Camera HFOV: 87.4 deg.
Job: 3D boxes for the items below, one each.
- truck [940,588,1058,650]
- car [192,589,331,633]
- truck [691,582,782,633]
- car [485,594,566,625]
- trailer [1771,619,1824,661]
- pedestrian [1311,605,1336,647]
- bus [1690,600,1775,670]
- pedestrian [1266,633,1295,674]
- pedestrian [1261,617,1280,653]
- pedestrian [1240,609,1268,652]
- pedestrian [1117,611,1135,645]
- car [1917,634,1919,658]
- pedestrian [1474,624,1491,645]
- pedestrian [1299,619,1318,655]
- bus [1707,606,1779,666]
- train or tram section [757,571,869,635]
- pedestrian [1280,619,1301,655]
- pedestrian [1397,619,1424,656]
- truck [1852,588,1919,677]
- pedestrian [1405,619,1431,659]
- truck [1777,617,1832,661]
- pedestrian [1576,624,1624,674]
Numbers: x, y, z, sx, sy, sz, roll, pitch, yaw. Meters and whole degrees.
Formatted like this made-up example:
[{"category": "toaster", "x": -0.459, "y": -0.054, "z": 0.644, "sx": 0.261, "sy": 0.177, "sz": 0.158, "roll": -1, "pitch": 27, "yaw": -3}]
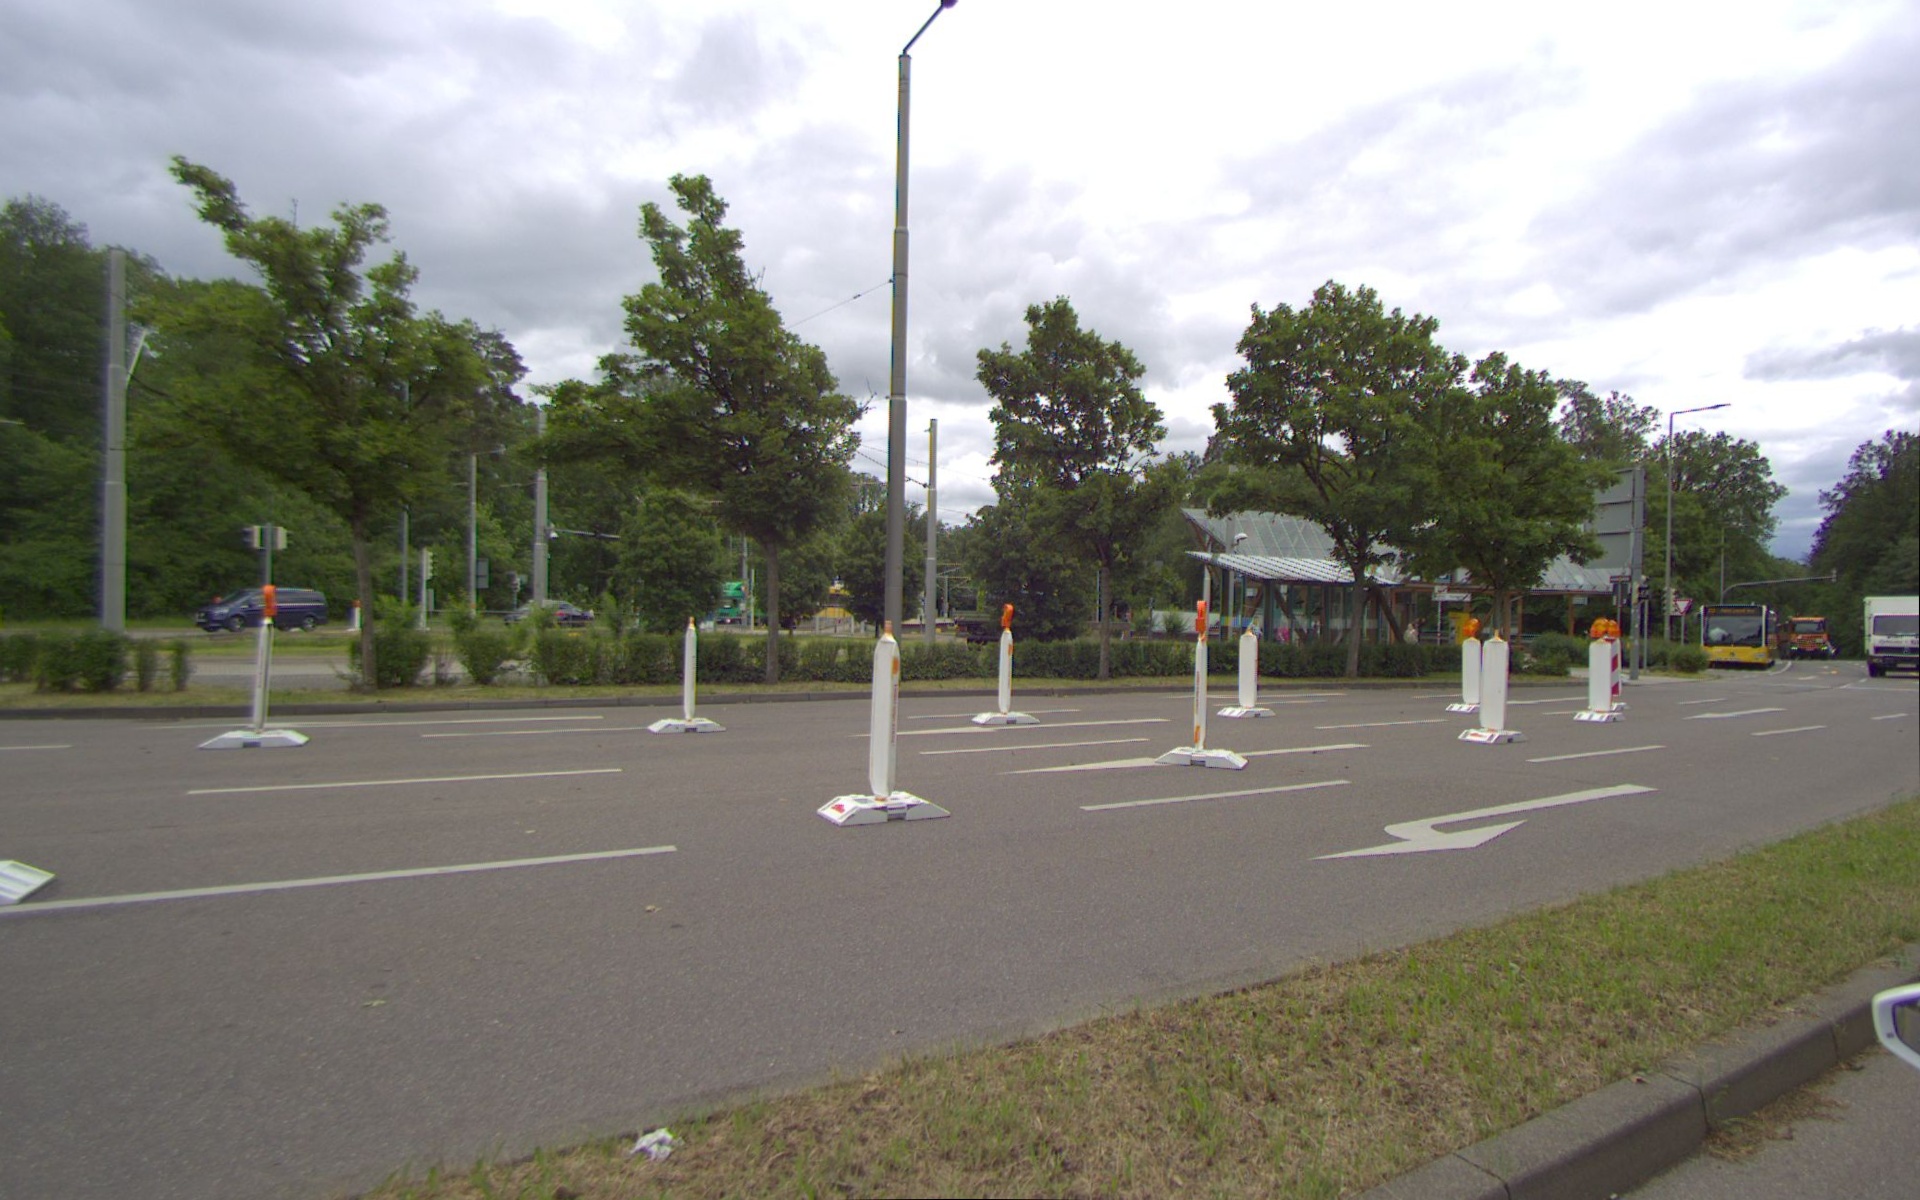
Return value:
[{"category": "truck", "x": 1.687, "y": 0.701, "z": 39.950, "sx": 2.557, "sy": 2.199, "sz": 6.299, "roll": 2, "pitch": 0, "yaw": 23}, {"category": "car", "x": -31.313, "y": 0.477, "z": 45.221, "sx": 1.962, "sy": 1.840, "sz": 4.831, "roll": 2, "pitch": 0, "yaw": 23}, {"category": "truck", "x": -18.612, "y": 0.595, "z": 84.379, "sx": 3.712, "sy": 3.933, "sz": 8.775, "roll": 2, "pitch": 0, "yaw": 15}, {"category": "car", "x": -26.017, "y": 0.571, "z": 60.256, "sx": 1.961, "sy": 1.706, "sz": 4.310, "roll": 2, "pitch": 0, "yaw": 21}, {"category": "trailer", "x": 71.339, "y": 3.476, "z": 85.665, "sx": 2.703, "sy": 3.361, "sz": 8.543, "roll": -2, "pitch": -4, "yaw": 35}, {"category": "pedestrian", "x": 14.137, "y": 1.006, "z": 39.056, "sx": 0.762, "sy": 1.566, "sz": 0.628, "roll": 3, "pitch": 0, "yaw": 27}, {"category": "bus", "x": 38.744, "y": 1.738, "z": 50.226, "sx": 2.865, "sy": 3.168, "sz": 9.713, "roll": 1, "pitch": -1, "yaw": 40}, {"category": "pedestrian", "x": 12.765, "y": 2.115, "z": 39.983, "sx": 0.779, "sy": 1.572, "sz": 0.773, "roll": 2, "pitch": 1, "yaw": -14}, {"category": "pedestrian", "x": 14.616, "y": 1.662, "z": 47.285, "sx": 0.573, "sy": 1.646, "sz": 0.673, "roll": 2, "pitch": 1, "yaw": -8}, {"category": "pedestrian", "x": 11.791, "y": 1.214, "z": 40.317, "sx": 0.674, "sy": 1.688, "sz": 0.867, "roll": 2, "pitch": 1, "yaw": -16}, {"category": "pedestrian", "x": 8.147, "y": 1.363, "z": 49.349, "sx": 0.769, "sy": 1.646, "sz": 0.770, "roll": 2, "pitch": 1, "yaw": 7}, {"category": "car", "x": 63.429, "y": 3.009, "z": 65.214, "sx": 1.789, "sy": 1.528, "sz": 4.282, "roll": -1, "pitch": -3, "yaw": 44}, {"category": "pedestrian", "x": 26.207, "y": 1.734, "z": 50.394, "sx": 0.559, "sy": 0.997, "sz": 0.544, "roll": 2, "pitch": 1, "yaw": -30}, {"category": "pedestrian", "x": 16.288, "y": 1.729, "z": 46.947, "sx": 0.573, "sy": 1.646, "sz": 0.673, "roll": 2, "pitch": 1, "yaw": -8}, {"category": "bus", "x": 44.678, "y": 2.039, "z": 57.229, "sx": 2.865, "sy": 3.168, "sz": 8.653, "roll": 1, "pitch": -1, "yaw": 40}, {"category": "train or tram section", "x": -11.742, "y": 0.221, "z": 83.680, "sx": 3.513, "sy": 4.594, "sz": 18.694, "roll": 2, "pitch": 0, "yaw": 10}, {"category": "pedestrian", "x": 15.446, "y": 1.722, "z": 46.939, "sx": 0.577, "sy": 1.646, "sz": 0.668, "roll": 1, "pitch": 1, "yaw": -32}, {"category": "pedestrian", "x": 19.160, "y": 1.580, "z": 42.732, "sx": 0.757, "sy": 1.545, "sz": 0.871, "roll": 2, "pitch": 1, "yaw": 42}, {"category": "truck", "x": 37.353, "y": 1.302, "z": 39.680, "sx": 6.164, "sy": 3.280, "sz": 2.604, "roll": 2, "pitch": -3, "yaw": -44}, {"category": "pedestrian", "x": 21.477, "y": 1.812, "z": 47.138, "sx": 0.751, "sy": 1.833, "sz": 0.995, "roll": 2, "pitch": 1, "yaw": 5}, {"category": "truck", "x": 68.539, "y": 3.225, "z": 81.626, "sx": 2.703, "sy": 3.361, "sz": 7.138, "roll": -2, "pitch": -4, "yaw": 35}, {"category": "pedestrian", "x": 21.983, "y": 1.674, "z": 34.517, "sx": 1.076, "sy": 1.698, "sz": 0.907, "roll": 2, "pitch": -1, "yaw": -18}]
